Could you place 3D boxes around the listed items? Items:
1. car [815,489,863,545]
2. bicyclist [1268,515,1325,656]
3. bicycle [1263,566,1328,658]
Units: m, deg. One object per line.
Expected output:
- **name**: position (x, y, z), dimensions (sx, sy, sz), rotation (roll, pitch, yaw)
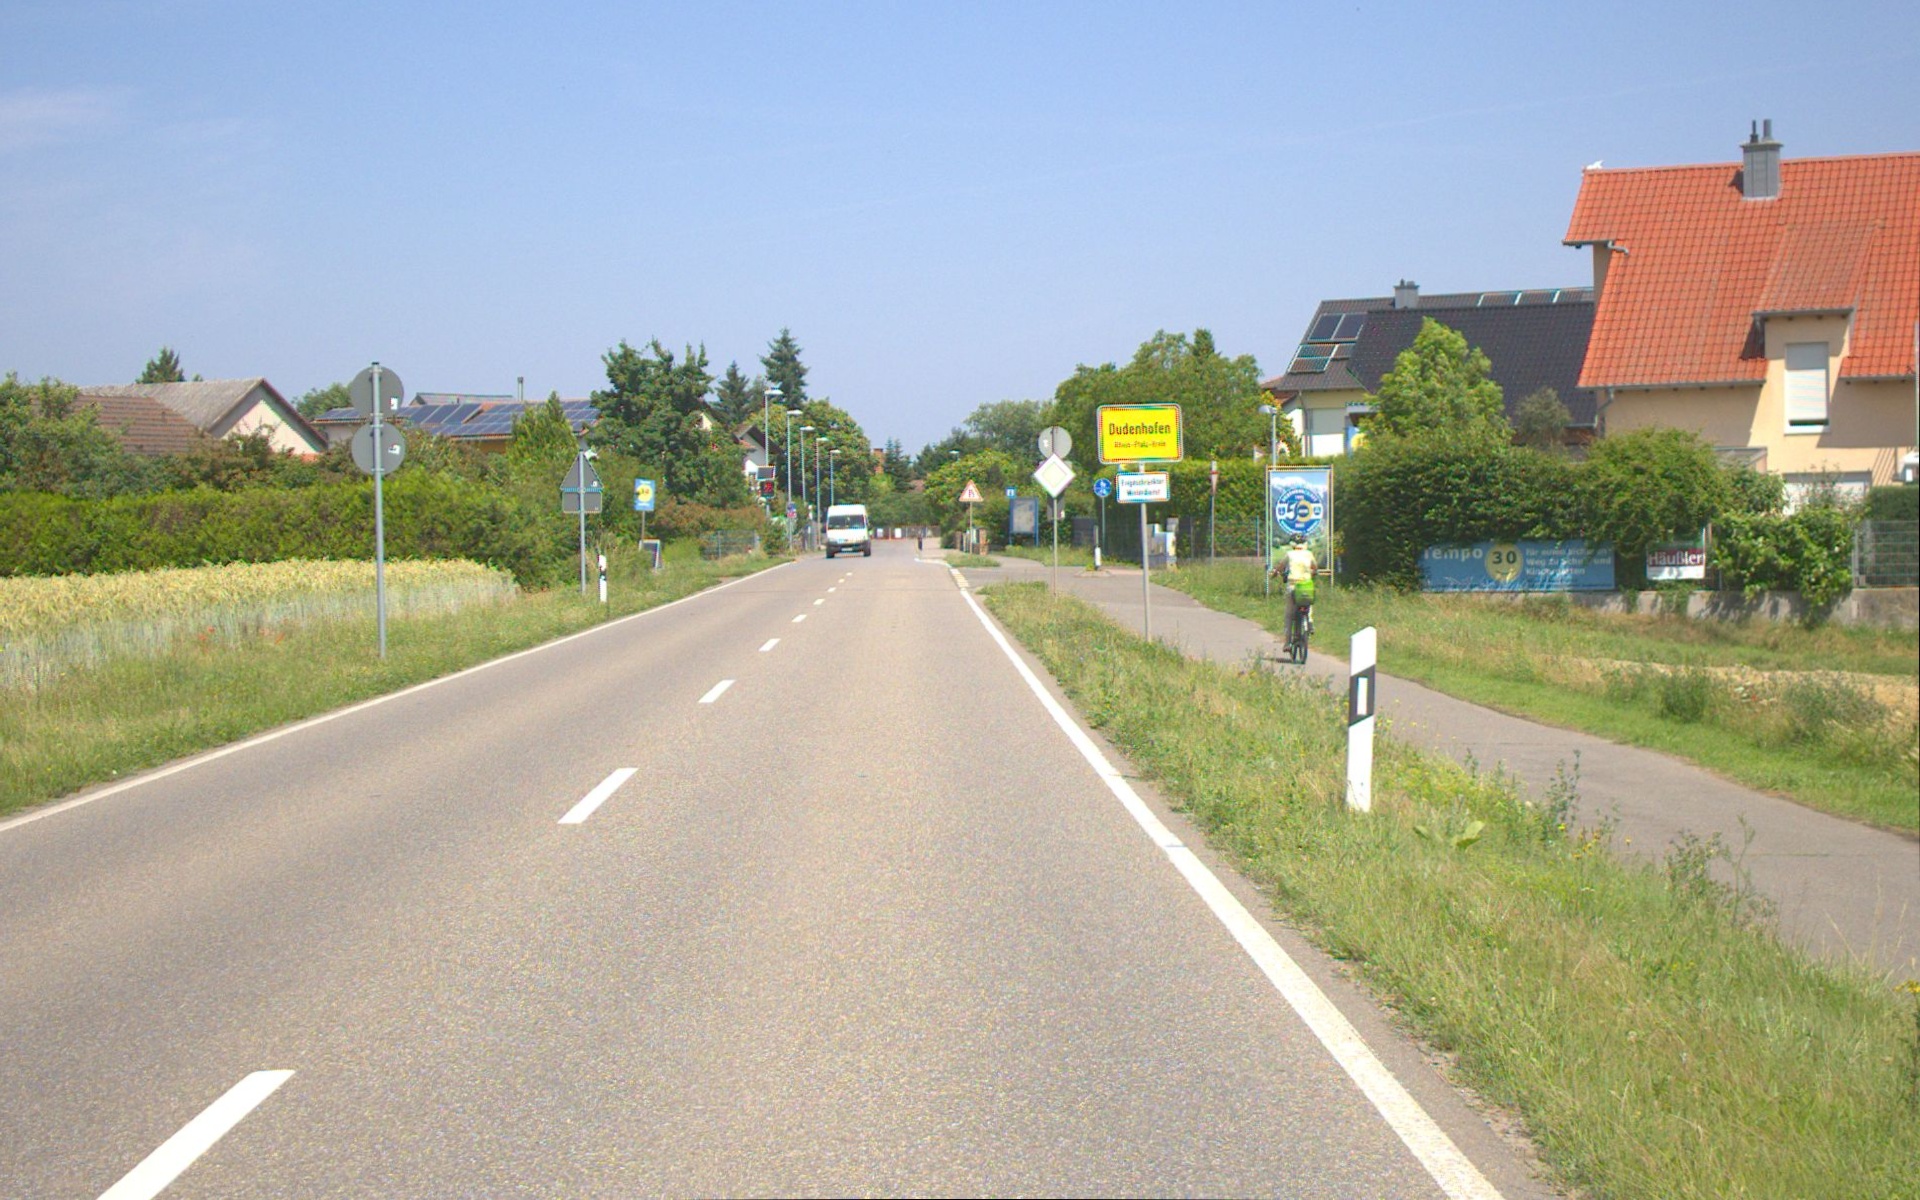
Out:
- **car**: position (-5.672, -3.944, 161.928), dimensions (2.077, 2.533, 5.874), rotation (-2, 2, -1)
- **bicyclist**: position (4.605, -0.206, 47.073), dimensions (0.645, 1.883, 0.861), rotation (1, 2, -1)
- **bicycle**: position (4.599, 0.151, 47.232), dimensions (0.610, 1.154, 2.274), rotation (1, 2, -1)
